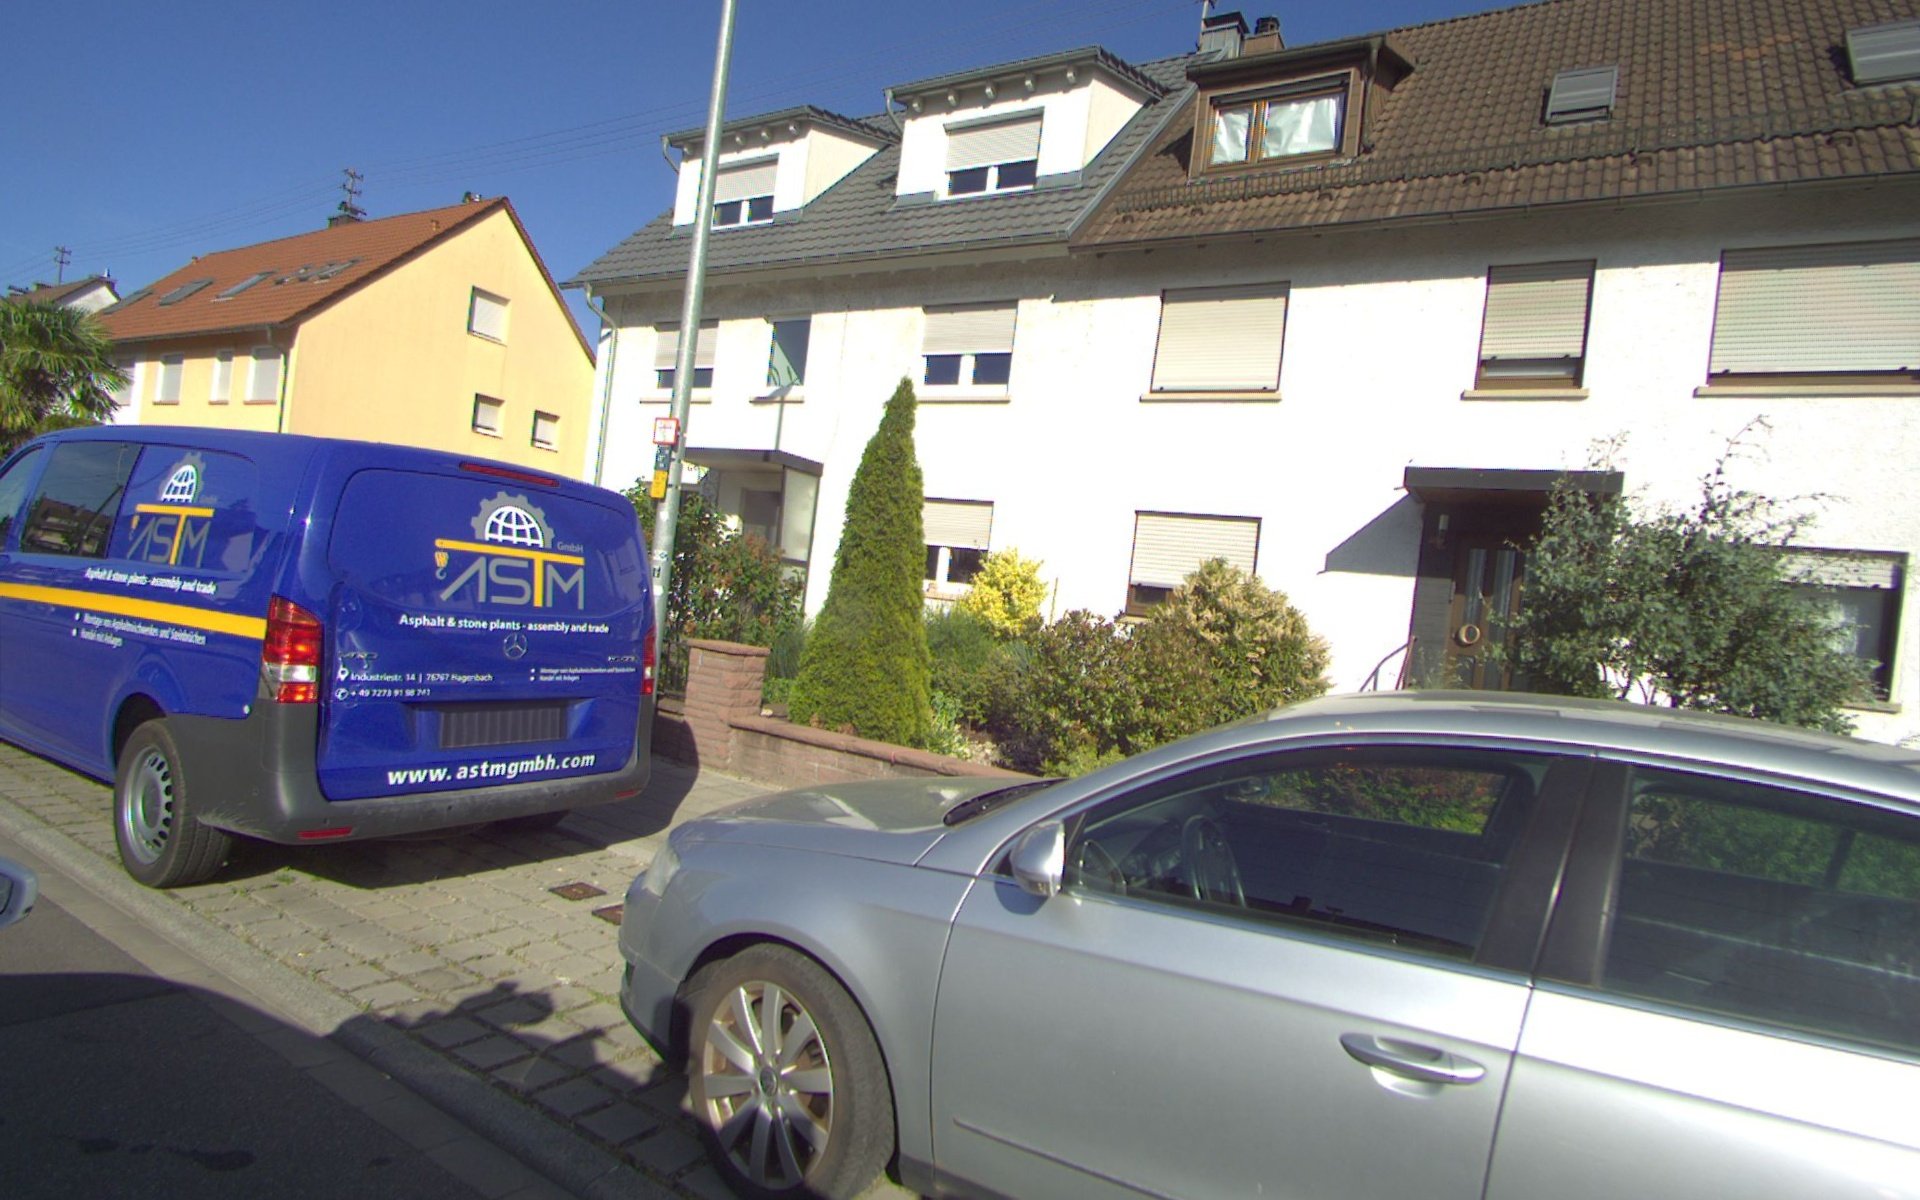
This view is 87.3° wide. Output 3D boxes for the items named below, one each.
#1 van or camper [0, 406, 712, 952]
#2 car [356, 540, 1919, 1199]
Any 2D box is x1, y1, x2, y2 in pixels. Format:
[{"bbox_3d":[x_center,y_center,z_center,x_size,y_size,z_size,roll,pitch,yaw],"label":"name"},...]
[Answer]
[{"bbox_3d":[-4.176,0.081,5.685,5.490,1.869,1.951,6,0,31],"label":"van or camper"},{"bbox_3d":[0.895,0.877,2.610,5.194,1.476,1.734,7,0,28],"label":"car"}]
